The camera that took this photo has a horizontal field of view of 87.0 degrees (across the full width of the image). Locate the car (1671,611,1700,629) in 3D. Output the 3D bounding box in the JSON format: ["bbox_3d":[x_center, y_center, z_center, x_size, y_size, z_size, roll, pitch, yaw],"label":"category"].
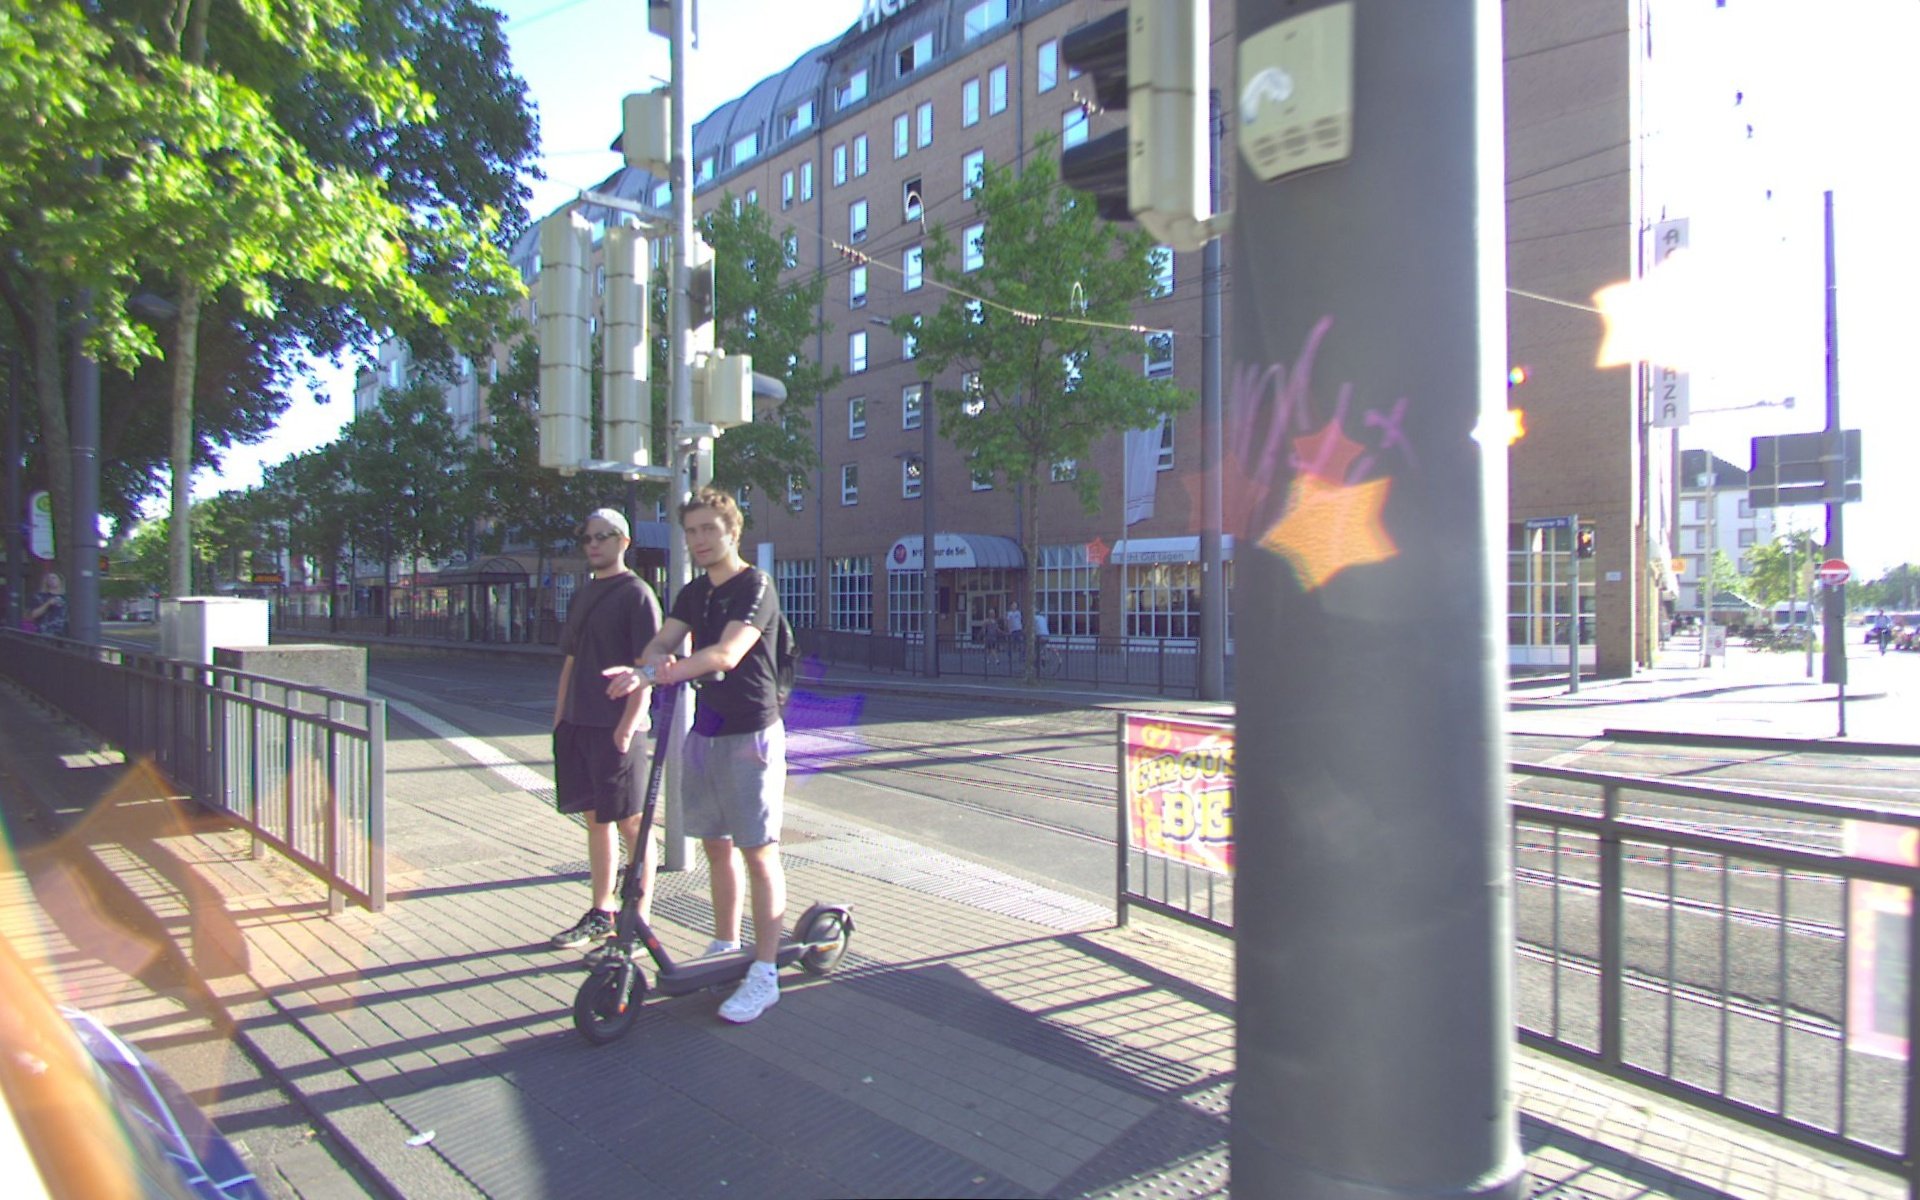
[{"bbox_3d":[70.888,1.948,98.894,1.836,1.597,4.114,-1,0,30],"label":"car"}]

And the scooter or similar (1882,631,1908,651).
[{"bbox_3d":[40.526,1.782,43.862,1.218,0.837,0.546,0,-1,-33],"label":"scooter or similar"}]

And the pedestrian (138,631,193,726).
[{"bbox_3d":[-8.972,0.872,11.434,0.378,1.040,0.401,-1,-1,38],"label":"pedestrian"}]

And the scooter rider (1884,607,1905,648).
[{"bbox_3d":[40.489,1.191,43.850,0.561,1.768,0.536,1,-1,-32],"label":"scooter rider"}]

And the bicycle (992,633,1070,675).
[{"bbox_3d":[1.852,1.407,26.719,2.153,1.026,0.605,-1,-1,41],"label":"bicycle"}]

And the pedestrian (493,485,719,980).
[{"bbox_3d":[-1.432,0.488,4.118,0.670,1.810,0.564,-1,-1,30],"label":"pedestrian"}]

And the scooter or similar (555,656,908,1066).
[{"bbox_3d":[-0.775,0.815,3.595,1.142,1.188,0.456,1,-1,-40],"label":"scooter or similar"}]

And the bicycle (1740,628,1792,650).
[{"bbox_3d":[37.152,1.775,46.663,0.631,0.988,1.734,1,-1,-36],"label":"bicycle"}]

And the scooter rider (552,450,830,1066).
[{"bbox_3d":[-0.930,0.477,3.515,0.751,1.847,0.589,1,-1,-40],"label":"scooter rider"}]

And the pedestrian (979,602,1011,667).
[{"bbox_3d":[1.043,1.009,30.202,0.637,1.909,0.747,1,-1,-34],"label":"pedestrian"}]

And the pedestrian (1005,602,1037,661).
[{"bbox_3d":[1.835,0.941,30.422,0.637,1.755,0.707,0,-1,-34],"label":"pedestrian"}]

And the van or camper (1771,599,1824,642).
[{"bbox_3d":[47.428,1.115,57.421,1.997,2.186,5.546,-1,1,37],"label":"van or camper"}]

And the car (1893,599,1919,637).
[{"bbox_3d":[50.103,0.910,52.419,1.887,1.881,4.267,-1,0,33],"label":"car"}]
